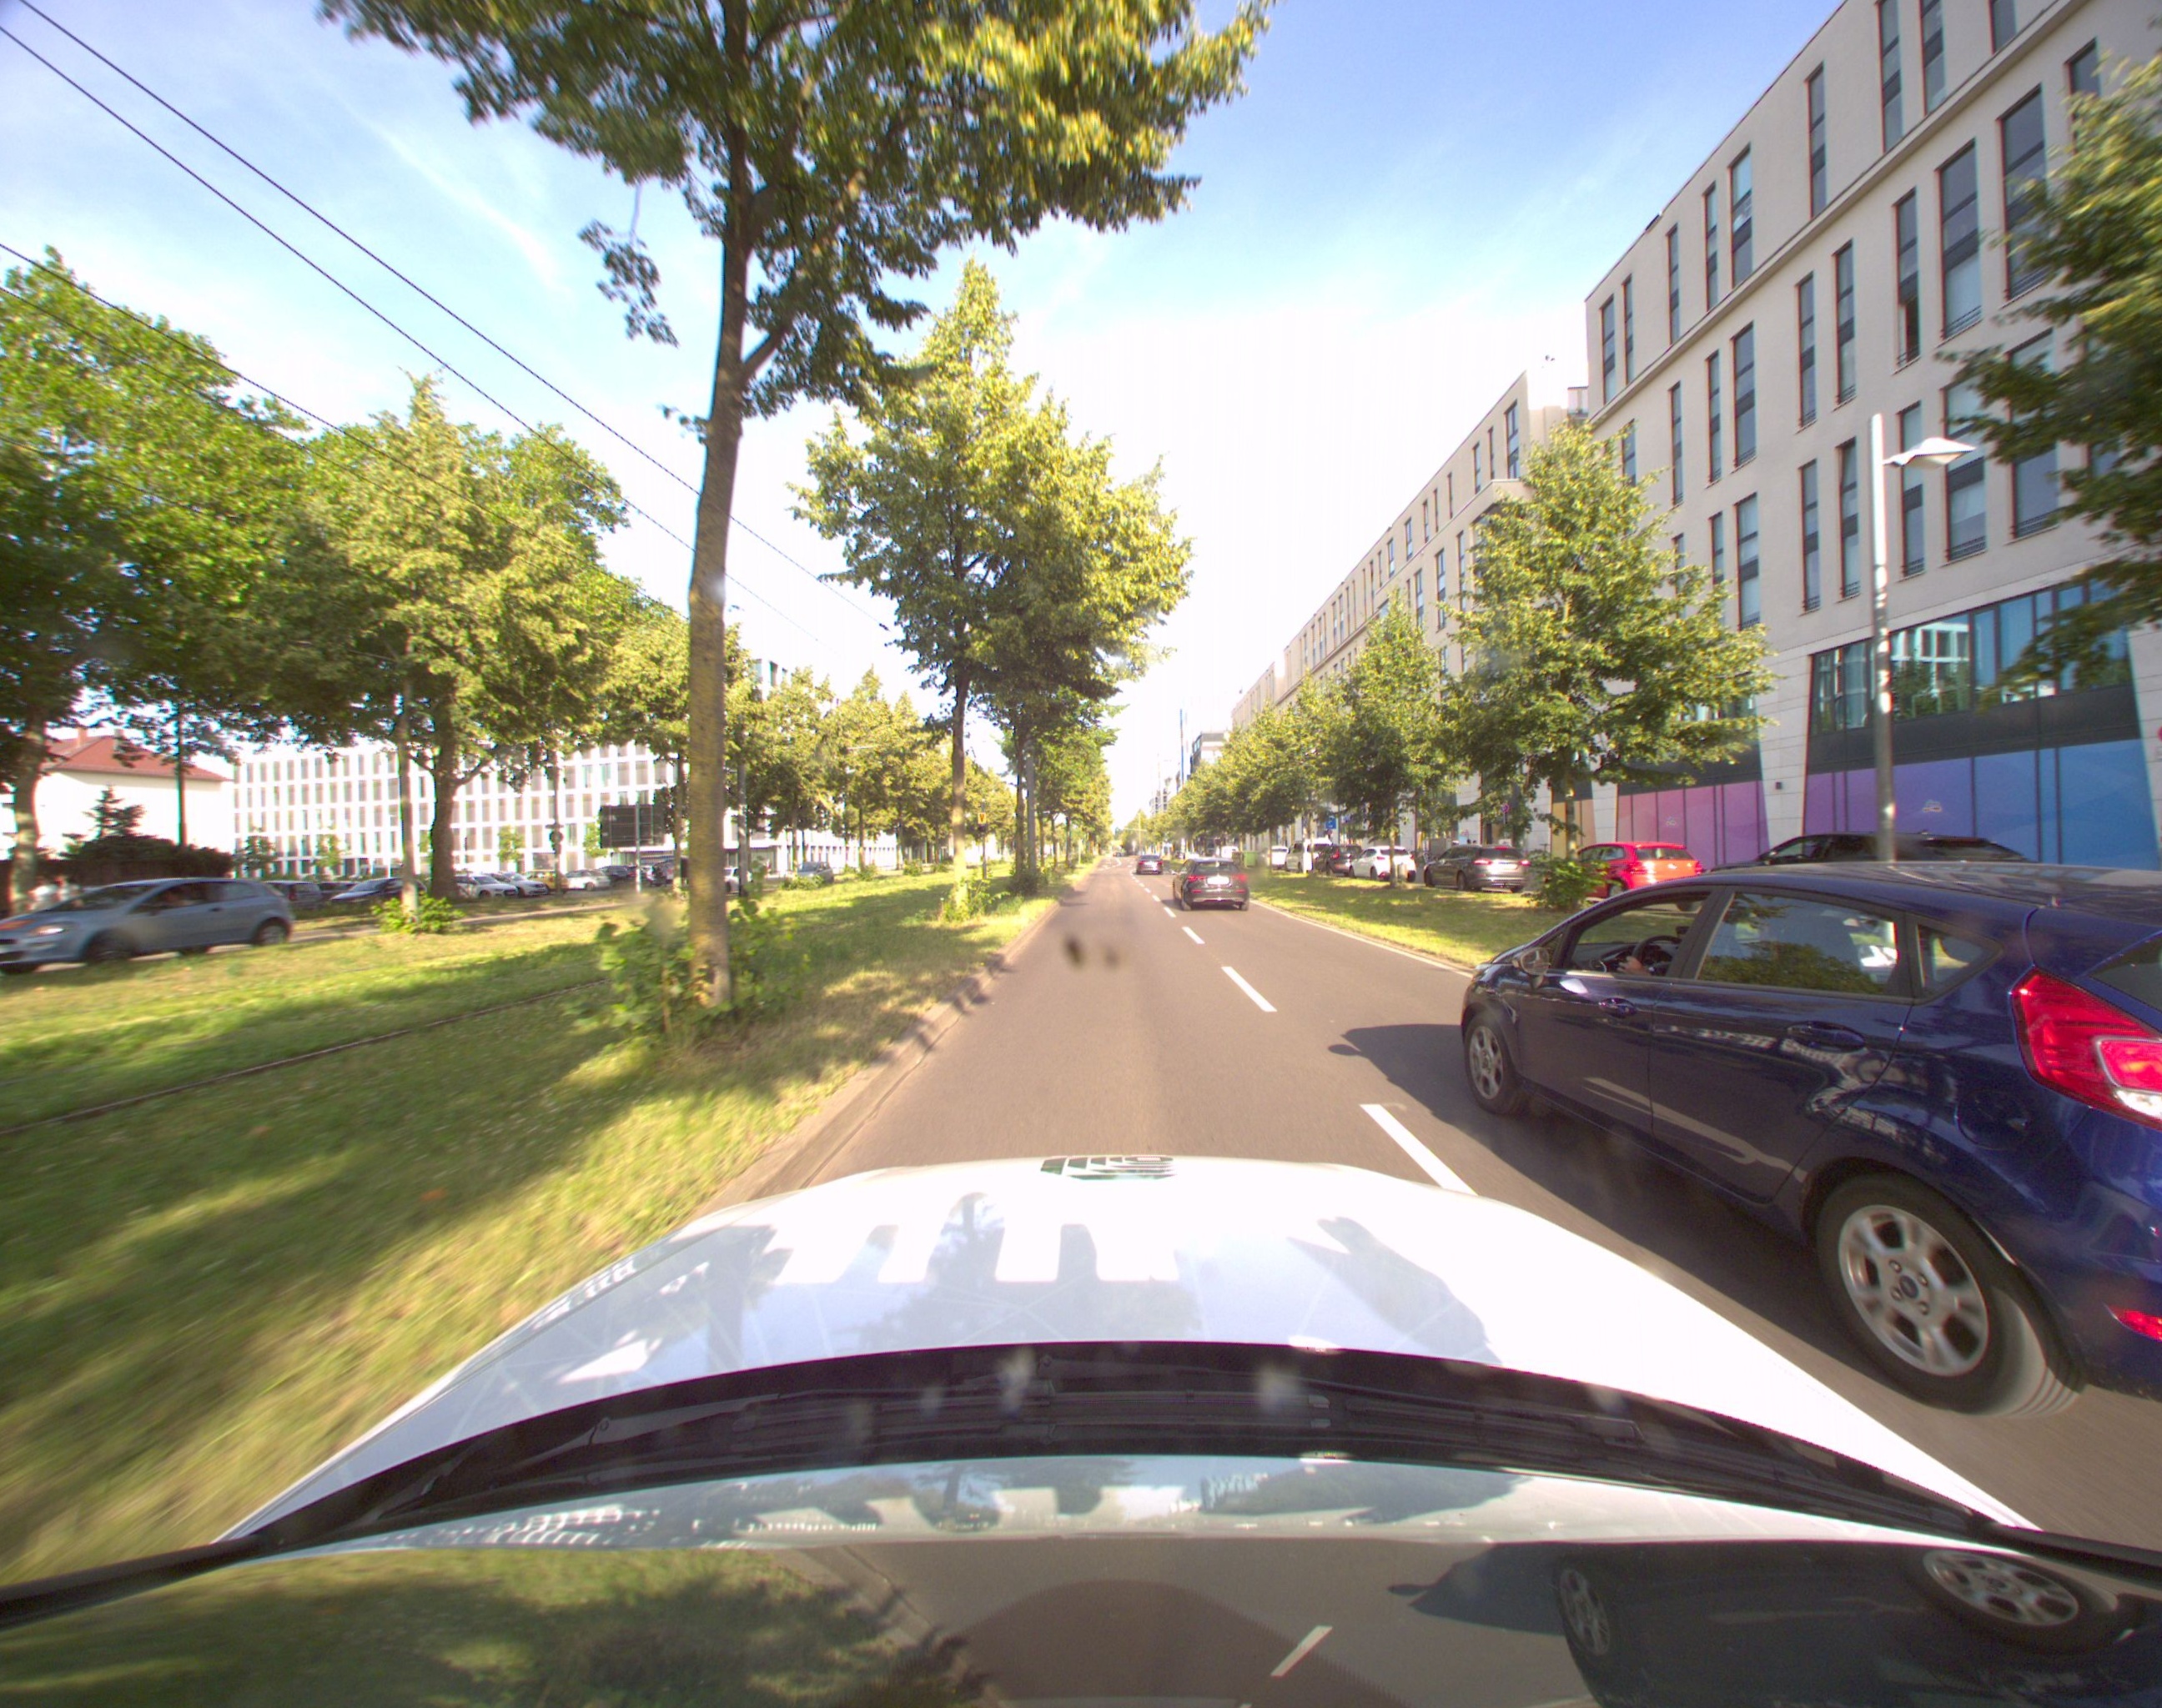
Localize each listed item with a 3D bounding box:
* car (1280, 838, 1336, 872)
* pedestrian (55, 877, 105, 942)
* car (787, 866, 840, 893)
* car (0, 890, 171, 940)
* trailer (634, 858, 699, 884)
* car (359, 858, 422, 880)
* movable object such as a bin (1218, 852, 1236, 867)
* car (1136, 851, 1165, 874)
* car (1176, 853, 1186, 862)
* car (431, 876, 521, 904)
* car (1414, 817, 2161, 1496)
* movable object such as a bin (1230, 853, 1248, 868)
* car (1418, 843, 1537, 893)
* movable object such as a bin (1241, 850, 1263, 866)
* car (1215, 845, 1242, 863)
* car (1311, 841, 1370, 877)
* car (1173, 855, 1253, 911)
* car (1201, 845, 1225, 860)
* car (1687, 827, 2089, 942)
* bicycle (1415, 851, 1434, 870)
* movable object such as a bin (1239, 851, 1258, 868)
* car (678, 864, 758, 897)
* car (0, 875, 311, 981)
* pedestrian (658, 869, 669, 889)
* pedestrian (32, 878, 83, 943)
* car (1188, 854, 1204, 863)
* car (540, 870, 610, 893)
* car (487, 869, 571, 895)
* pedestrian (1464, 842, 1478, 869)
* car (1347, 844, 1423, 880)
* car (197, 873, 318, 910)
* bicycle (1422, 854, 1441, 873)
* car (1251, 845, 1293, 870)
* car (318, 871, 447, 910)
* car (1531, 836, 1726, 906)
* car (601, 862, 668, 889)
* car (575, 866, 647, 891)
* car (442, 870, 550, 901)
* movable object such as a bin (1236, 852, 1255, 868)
[{"bbox_3d":[13.075,0.070,47.211,1.832,1.876,5.029,0,-1,-1],"label":"car"},{"bbox_3d":[-23.404,1.292,19.055,0.385,1.476,0.602,0,-1,1],"label":"pedestrian"},{"bbox_3d":[-14.821,1.370,45.303,1.577,1.393,3.698,0,-1,2],"label":"car"},{"bbox_3d":[-34.819,2.035,28.229,1.783,1.442,4.354,0,-1,-4],"label":"car"},{"bbox_3d":[-33.533,1.354,65.933,4.343,2.054,1.760,0,-1,5],"label":"trailer"},{"bbox_3d":[-68.842,1.452,81.258,1.836,2.158,4.511,0,-1,14],"label":"car"},{"bbox_3d":[12.579,0.455,70.105,1.274,1.291,1.177,0,-1,-2],"label":"movable object such as a bin"},{"bbox_3d":[4.910,0.596,57.659,1.852,1.524,3.787,0,-1,2],"label":"car"},{"bbox_3d":[16.277,0.614,132.826,1.598,1.370,4.165,0,-1,7],"label":"car"},{"bbox_3d":[-33.352,1.962,44.925,3.631,1.428,1.811,0,-1,4],"label":"car"},{"bbox_3d":[3.019,0.655,3.664,1.554,1.424,3.908,0,-1,1],"label":"car"},{"bbox_3d":[13.097,0.505,67.436,1.274,1.237,1.190,0,-1,-2],"label":"movable object such as a bin"},{"bbox_3d":[12.413,0.416,25.873,1.721,1.432,4.725,0,-1,3],"label":"car"},{"bbox_3d":[13.262,0.313,63.187,1.385,1.237,1.344,0,-1,29],"label":"movable object such as a bin"},{"bbox_3d":[14.254,0.013,78.816,1.821,1.711,4.294,0,-1,-1],"label":"car"},{"bbox_3d":[12.814,0.249,40.476,1.721,1.650,4.342,0,-1,3],"label":"car"},{"bbox_3d":[3.622,0.763,22.970,1.767,1.424,3.963,0,-1,2],"label":"car"},{"bbox_3d":[14.729,-0.183,90.980,1.891,1.708,4.678,0,1,0],"label":"car"},{"bbox_3d":[12.179,0.421,12.825,1.863,1.491,4.410,0,-1,-3],"label":"car"},{"bbox_3d":[20.081,0.373,47.590,0.343,1.081,1.733,-5,-1,2],"label":"bicycle"},{"bbox_3d":[13.288,0.454,64.737,1.274,1.302,1.190,0,-1,-2],"label":"movable object such as a bin"},{"bbox_3d":[-18.350,1.291,41.397,1.675,1.476,4.815,-4,-1,2],"label":"car"},{"bbox_3d":[-16.550,1.183,14.502,1.604,1.532,4.134,0,-1,2],"label":"car"},{"bbox_3d":[-30.981,1.829,60.470,0.520,1.480,0.568,0,-1,1],"label":"pedestrian"},{"bbox_3d":[-23.867,1.317,19.003,0.385,1.476,0.602,0,-1,1],"label":"pedestrian"},{"bbox_3d":[15.759,0.649,111.664,1.702,1.242,3.906,0,-1,1],"label":"car"},{"bbox_3d":[-33.855,1.825,54.552,3.553,1.425,1.727,0,-1,2],"label":"car"},{"bbox_3d":[-34.001,1.721,50.231,3.969,1.560,1.858,0,-1,4],"label":"car"},{"bbox_3d":[22.465,0.077,46.921,0.592,1.522,0.516,0,-1,6],"label":"pedestrian"},{"bbox_3d":[12.656,0.334,34.129,1.611,1.412,4.166,0,-1,-1],"label":"car"},{"bbox_3d":[-35.650,1.591,35.290,3.835,1.486,1.748,0,-1,9],"label":"car"},{"bbox_3d":[20.507,0.539,47.630,0.343,1.081,1.743,-5,-1,2],"label":"bicycle"},{"bbox_3d":[13.411,0.243,57.522,1.725,1.630,4.848,-1,0,-1],"label":"car"},{"bbox_3d":[-28.239,1.446,33.109,1.675,1.435,4.037,0,-1,2],"label":"car"},{"bbox_3d":[12.341,0.368,18.721,1.723,1.432,4.112,0,-1,-1],"label":"car"},{"bbox_3d":[-33.081,1.575,60.367,3.976,1.947,1.758,0,-1,2],"label":"car"},{"bbox_3d":[-32.913,1.714,57.069,3.976,1.643,1.758,0,-1,2],"label":"car"},{"bbox_3d":[-34.183,1.823,47.639,5.037,1.735,1.887,0,-1,4],"label":"car"},{"bbox_3d":[13.350,0.478,66.086,1.274,1.318,1.190,0,-1,-2],"label":"movable object such as a bin"}]
